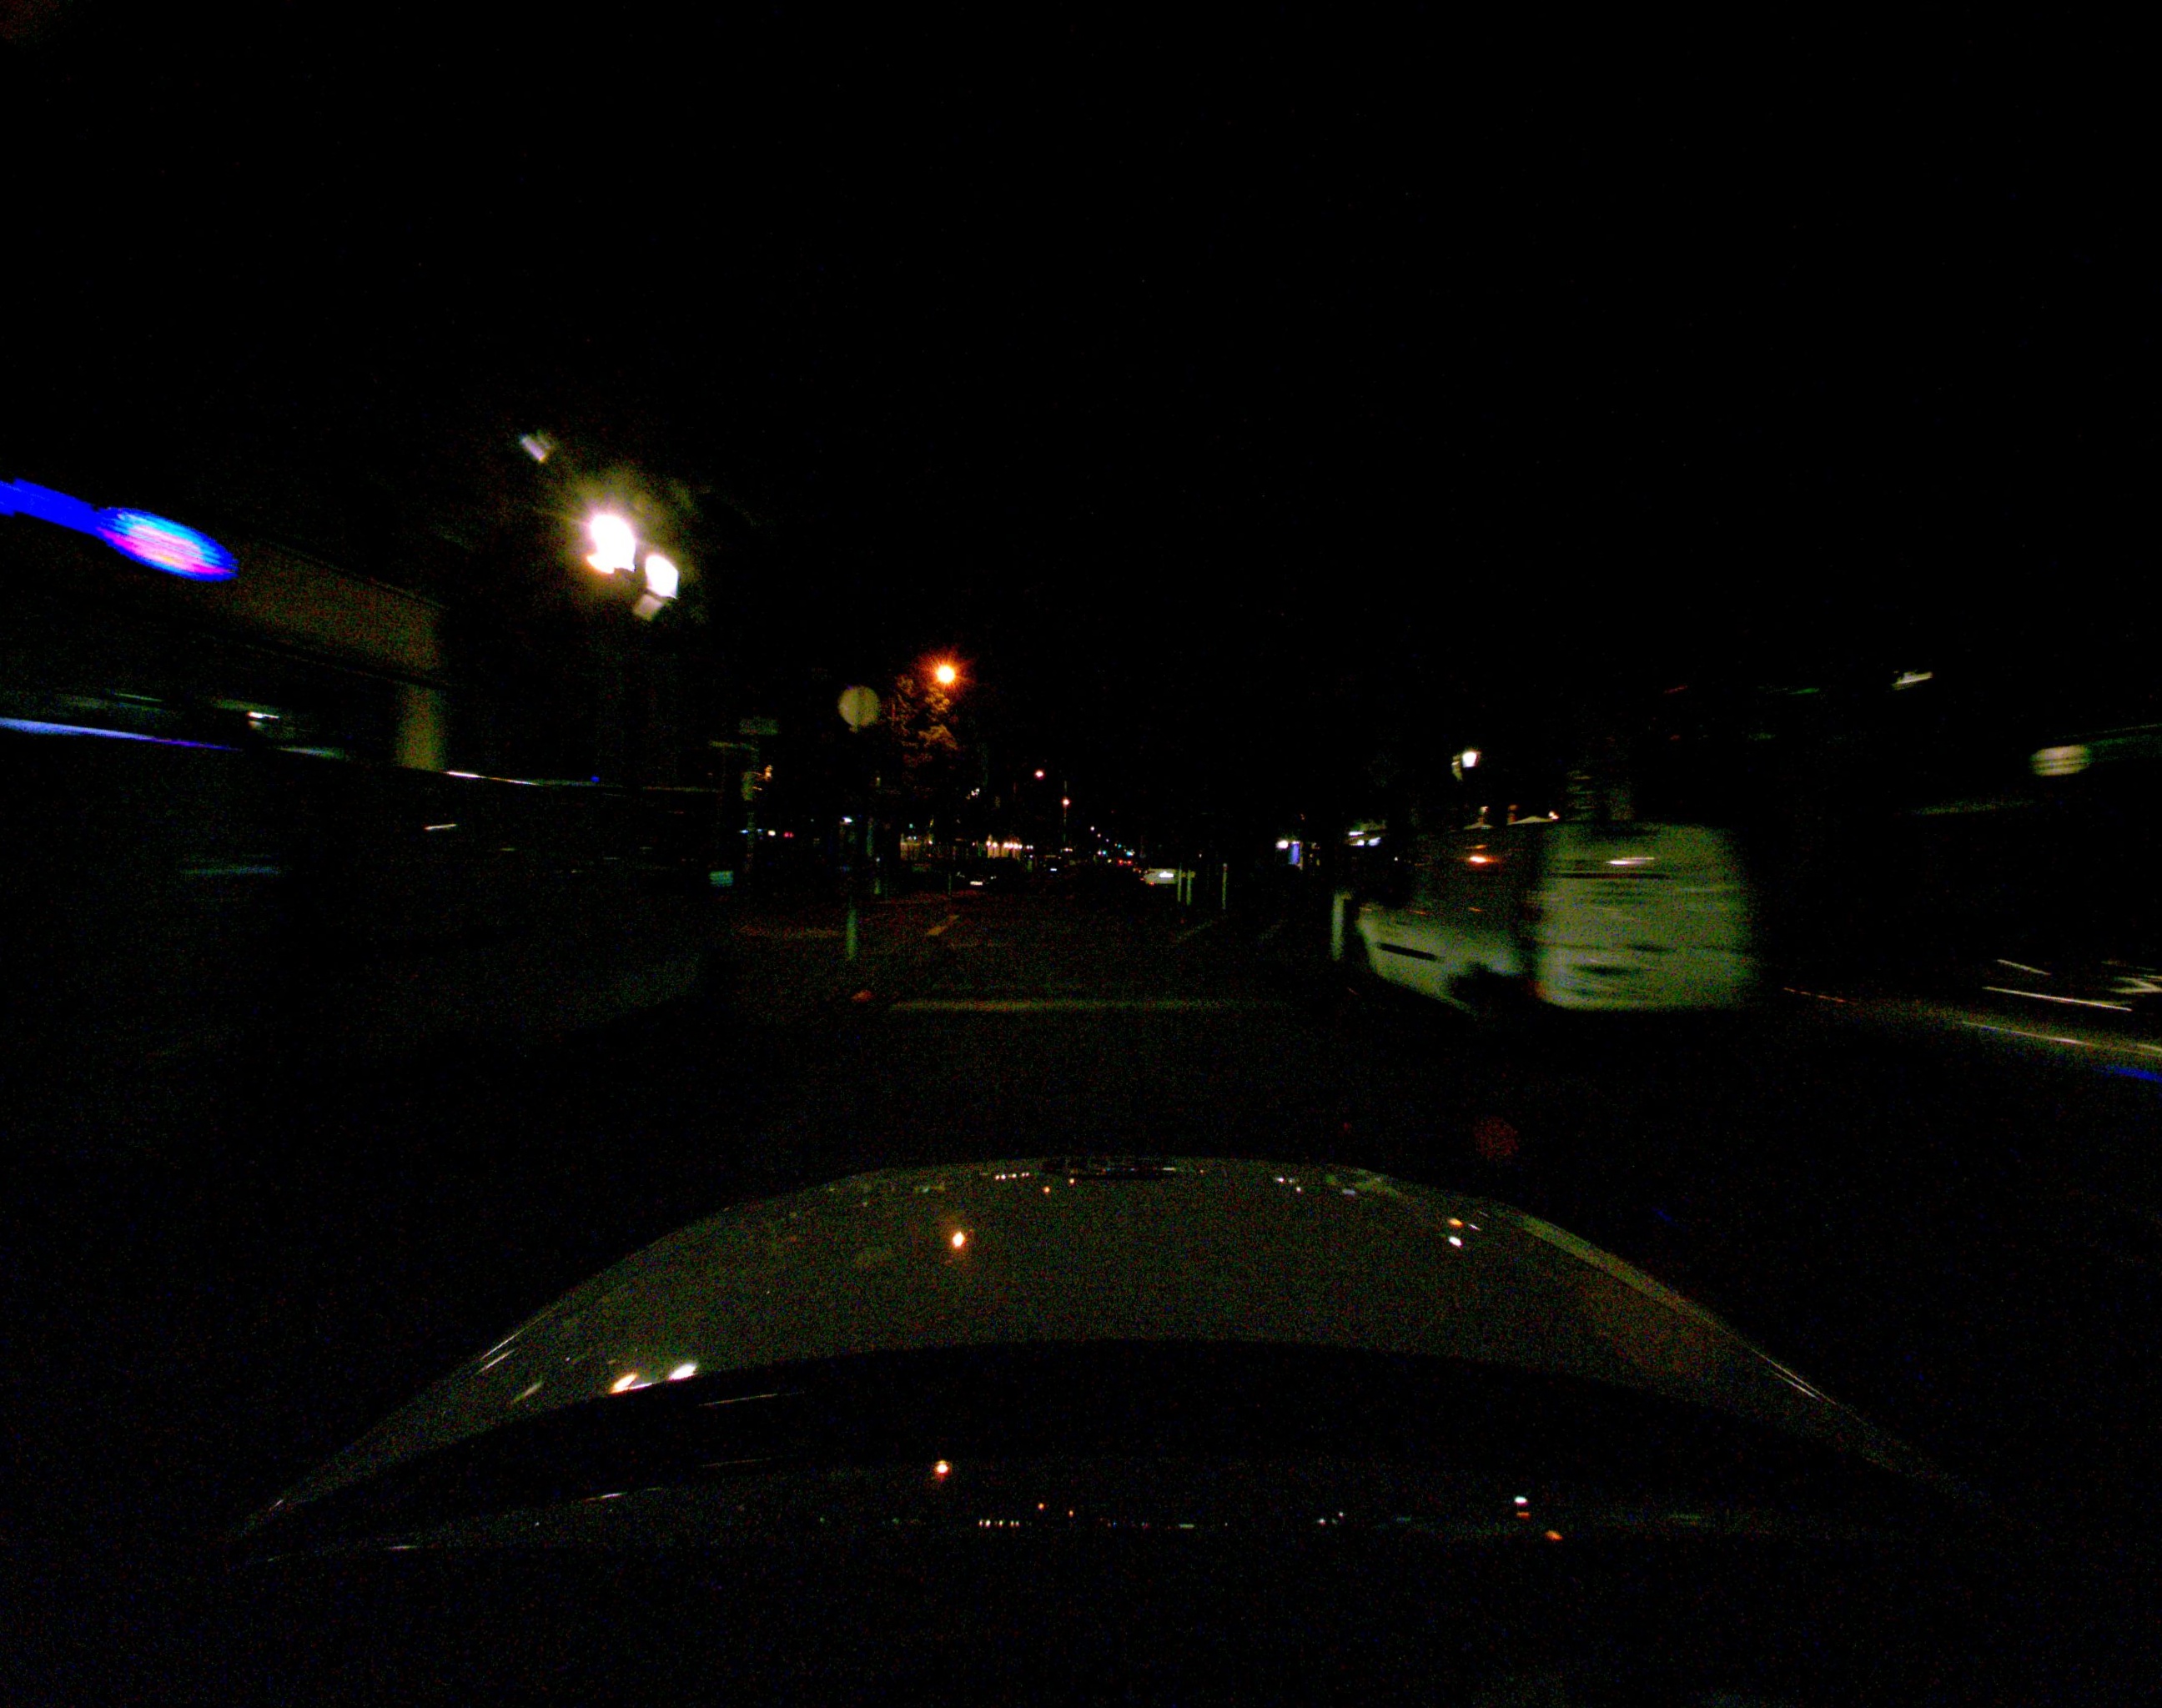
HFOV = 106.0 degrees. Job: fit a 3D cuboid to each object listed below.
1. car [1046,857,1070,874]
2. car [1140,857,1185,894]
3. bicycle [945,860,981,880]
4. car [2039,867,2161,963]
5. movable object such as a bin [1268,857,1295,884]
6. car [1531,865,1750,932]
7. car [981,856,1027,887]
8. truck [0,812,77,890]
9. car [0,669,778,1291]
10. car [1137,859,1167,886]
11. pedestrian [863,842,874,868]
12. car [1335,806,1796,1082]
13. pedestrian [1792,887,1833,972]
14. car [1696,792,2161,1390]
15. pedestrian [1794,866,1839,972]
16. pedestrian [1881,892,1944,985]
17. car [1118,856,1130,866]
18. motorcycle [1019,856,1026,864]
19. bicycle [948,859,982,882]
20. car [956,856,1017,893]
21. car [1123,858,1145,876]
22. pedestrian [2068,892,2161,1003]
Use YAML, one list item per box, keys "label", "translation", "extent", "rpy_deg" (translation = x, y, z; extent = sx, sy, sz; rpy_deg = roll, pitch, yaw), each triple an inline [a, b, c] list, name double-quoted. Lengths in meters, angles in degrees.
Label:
- label: "car"
  translation: [-2.039, 1.047, 73.893]
  extent: [1.734, 1.413, 4.499]
  rpy_deg: [2, 0, 3]
- label: "car"
  translation: [3.480, 0.887, 35.390]
  extent: [1.763, 1.537, 4.220]
  rpy_deg: [0, 0, 3]
- label: "bicycle"
  translation: [-6.640, 0.897, 45.837]
  extent: [1.843, 1.035, 0.533]
  rpy_deg: [3, 0, 2]
- label: "car"
  translation: [20.262, 1.051, 14.542]
  extent: [4.127, 1.549, 1.804]
  rpy_deg: [0, 1, 1]
- label: "movable object such as a bin"
  translation: [10.408, 0.846, 42.264]
  extent: [1.156, 1.371, 0.993]
  rpy_deg: [2, 0, 1]
- label: "car"
  translation: [14.043, 1.097, 20.632]
  extent: [4.299, 1.532, 1.804]
  rpy_deg: [1, -2, 1]
- label: "car"
  translation: [-3.943, 0.868, 42.187]
  extent: [1.715, 1.428, 3.979]
  rpy_deg: [3, 0, 3]
- label: "truck"
  translation: [-29.763, -0.110, 21.578]
  extent: [4.014, 2.023, 1.859]
  rpy_deg: [1, 0, 1]
- label: "car"
  translation: [-3.819, 0.415, 5.307]
  extent: [1.848, 2.087, 5.085]
  rpy_deg: [3, 0, -3]
- label: "car"
  translation: [4.234, 1.067, 48.954]
  extent: [1.682, 1.537, 4.019]
  rpy_deg: [1, 0, 3]
- label: "pedestrian"
  translation: [-13.294, 0.059, 50.961]
  extent: [0.476, 1.636, 0.632]
  rpy_deg: [1, 0, 3]
- label: "car"
  translation: [3.969, 0.608, 7.761]
  extent: [1.782, 1.822, 4.581]
  rpy_deg: [1, 0, 2]
- label: "pedestrian"
  translation: [10.505, 1.065, 11.705]
  extent: [0.385, 1.168, 0.522]
  rpy_deg: [1, -1, 38]
- label: "car"
  translation: [3.839, 0.668, 1.858]
  extent: [1.678, 1.659, 4.297]
  rpy_deg: [1, 0, 1]
- label: "pedestrian"
  translation: [11.326, 0.980, 12.547]
  extent: [0.476, 1.587, 0.374]
  rpy_deg: [1, -1, 38]
- label: "pedestrian"
  translation: [11.963, 1.199, 11.729]
  extent: [0.522, 1.264, 0.505]
  rpy_deg: [1, -1, 32]
- label: "car"
  translation: [7.186, 1.188, 136.681]
  extent: [1.986, 1.643, 4.002]
  rpy_deg: [0, 0, 2]
- label: "motorcycle"
  translation: [-7.926, 0.856, 110.491]
  extent: [0.475, 1.020, 1.681]
  rpy_deg: [2, 0, 13]
- label: "bicycle"
  translation: [-6.599, 0.944, 46.437]
  extent: [1.843, 1.254, 0.533]
  rpy_deg: [1, 0, 2]
- label: "car"
  translation: [-4.088, 0.842, 36.118]
  extent: [1.799, 1.425, 4.925]
  rpy_deg: [3, 0, 3]
- label: "car"
  translation: [4.385, 1.028, 67.884]
  extent: [1.756, 1.414, 4.812]
  rpy_deg: [1, 0, 3]
- label: "pedestrian"
  translation: [12.597, 1.115, 9.859]
  extent: [0.675, 1.264, 0.532]
  rpy_deg: [1, -1, 30]
